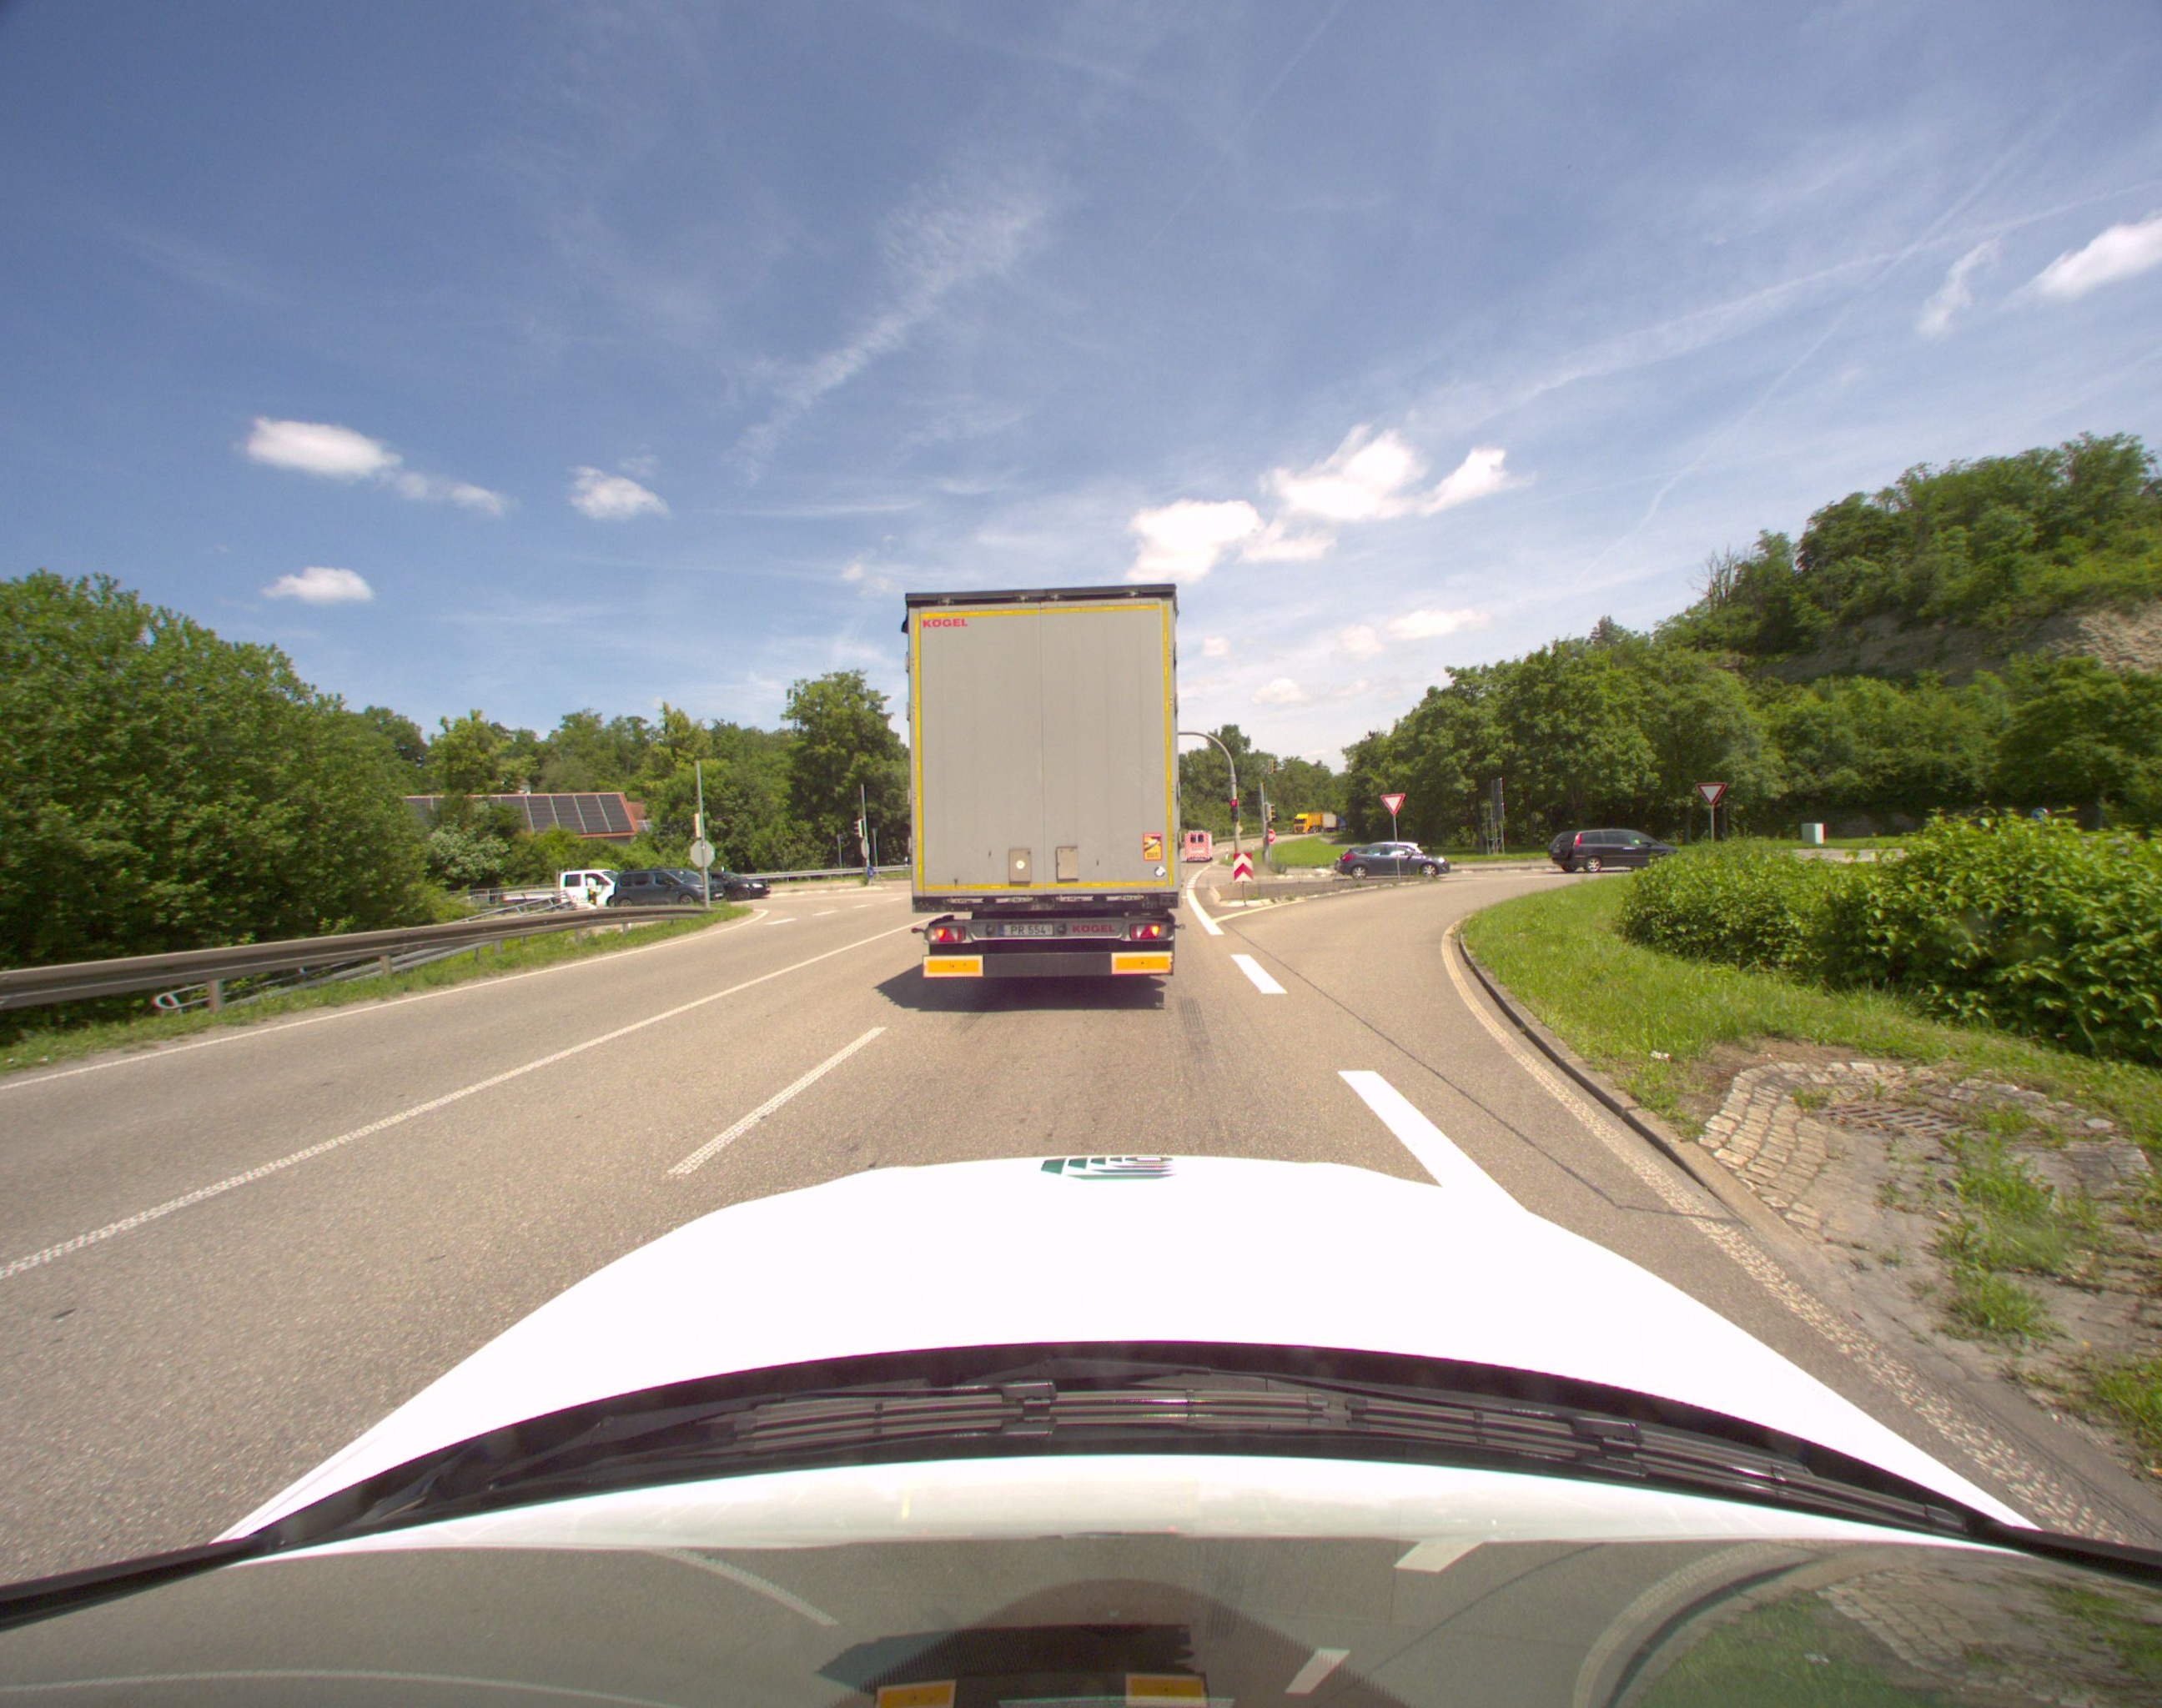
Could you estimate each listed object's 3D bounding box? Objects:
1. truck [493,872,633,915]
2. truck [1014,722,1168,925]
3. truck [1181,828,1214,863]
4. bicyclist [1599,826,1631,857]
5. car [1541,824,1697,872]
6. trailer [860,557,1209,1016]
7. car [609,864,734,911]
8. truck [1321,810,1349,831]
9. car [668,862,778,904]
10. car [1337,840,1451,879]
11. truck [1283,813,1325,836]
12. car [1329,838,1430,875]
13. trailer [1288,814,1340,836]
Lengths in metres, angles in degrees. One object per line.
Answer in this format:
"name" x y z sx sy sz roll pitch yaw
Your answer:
"truck" -23.364 1.765 36.939 4.877 1.791 2.036 0 -2 -11
"truck" 0.426 -0.609 19.848 3.025 4.034 6.636 -2 0 4
"truck" 10.292 -0.685 71.294 2.477 2.728 6.049 -1 -2 11
"bicyclist" 26.265 -0.611 40.052 1.002 1.448 0.795 -1 -2 -1
"car" 21.436 -0.215 32.590 4.909 1.785 2.000 -1 -2 0
"trailer" -0.004 -0.603 13.599 3.038 4.033 12.572 -2 0 4
"car" -16.919 1.378 33.718 4.206 1.770 2.006 -2 -1 11
"truck" 51.852 -6.821 166.065 3.149 4.028 11.818 -1 1 28
"car" -16.611 1.316 37.846 4.206 1.770 2.006 -2 -1 11
"car" 12.711 0.251 33.333 4.210 1.491 2.009 -1 -2 18
"truck" 45.537 -5.928 166.012 4.963 4.362 11.841 -1 1 32
"car" 14.846 0.144 40.714 4.404 1.718 2.003 -1 -2 6
"trailer" 49.542 -6.112 172.582 4.963 4.362 20.972 -1 1 32
